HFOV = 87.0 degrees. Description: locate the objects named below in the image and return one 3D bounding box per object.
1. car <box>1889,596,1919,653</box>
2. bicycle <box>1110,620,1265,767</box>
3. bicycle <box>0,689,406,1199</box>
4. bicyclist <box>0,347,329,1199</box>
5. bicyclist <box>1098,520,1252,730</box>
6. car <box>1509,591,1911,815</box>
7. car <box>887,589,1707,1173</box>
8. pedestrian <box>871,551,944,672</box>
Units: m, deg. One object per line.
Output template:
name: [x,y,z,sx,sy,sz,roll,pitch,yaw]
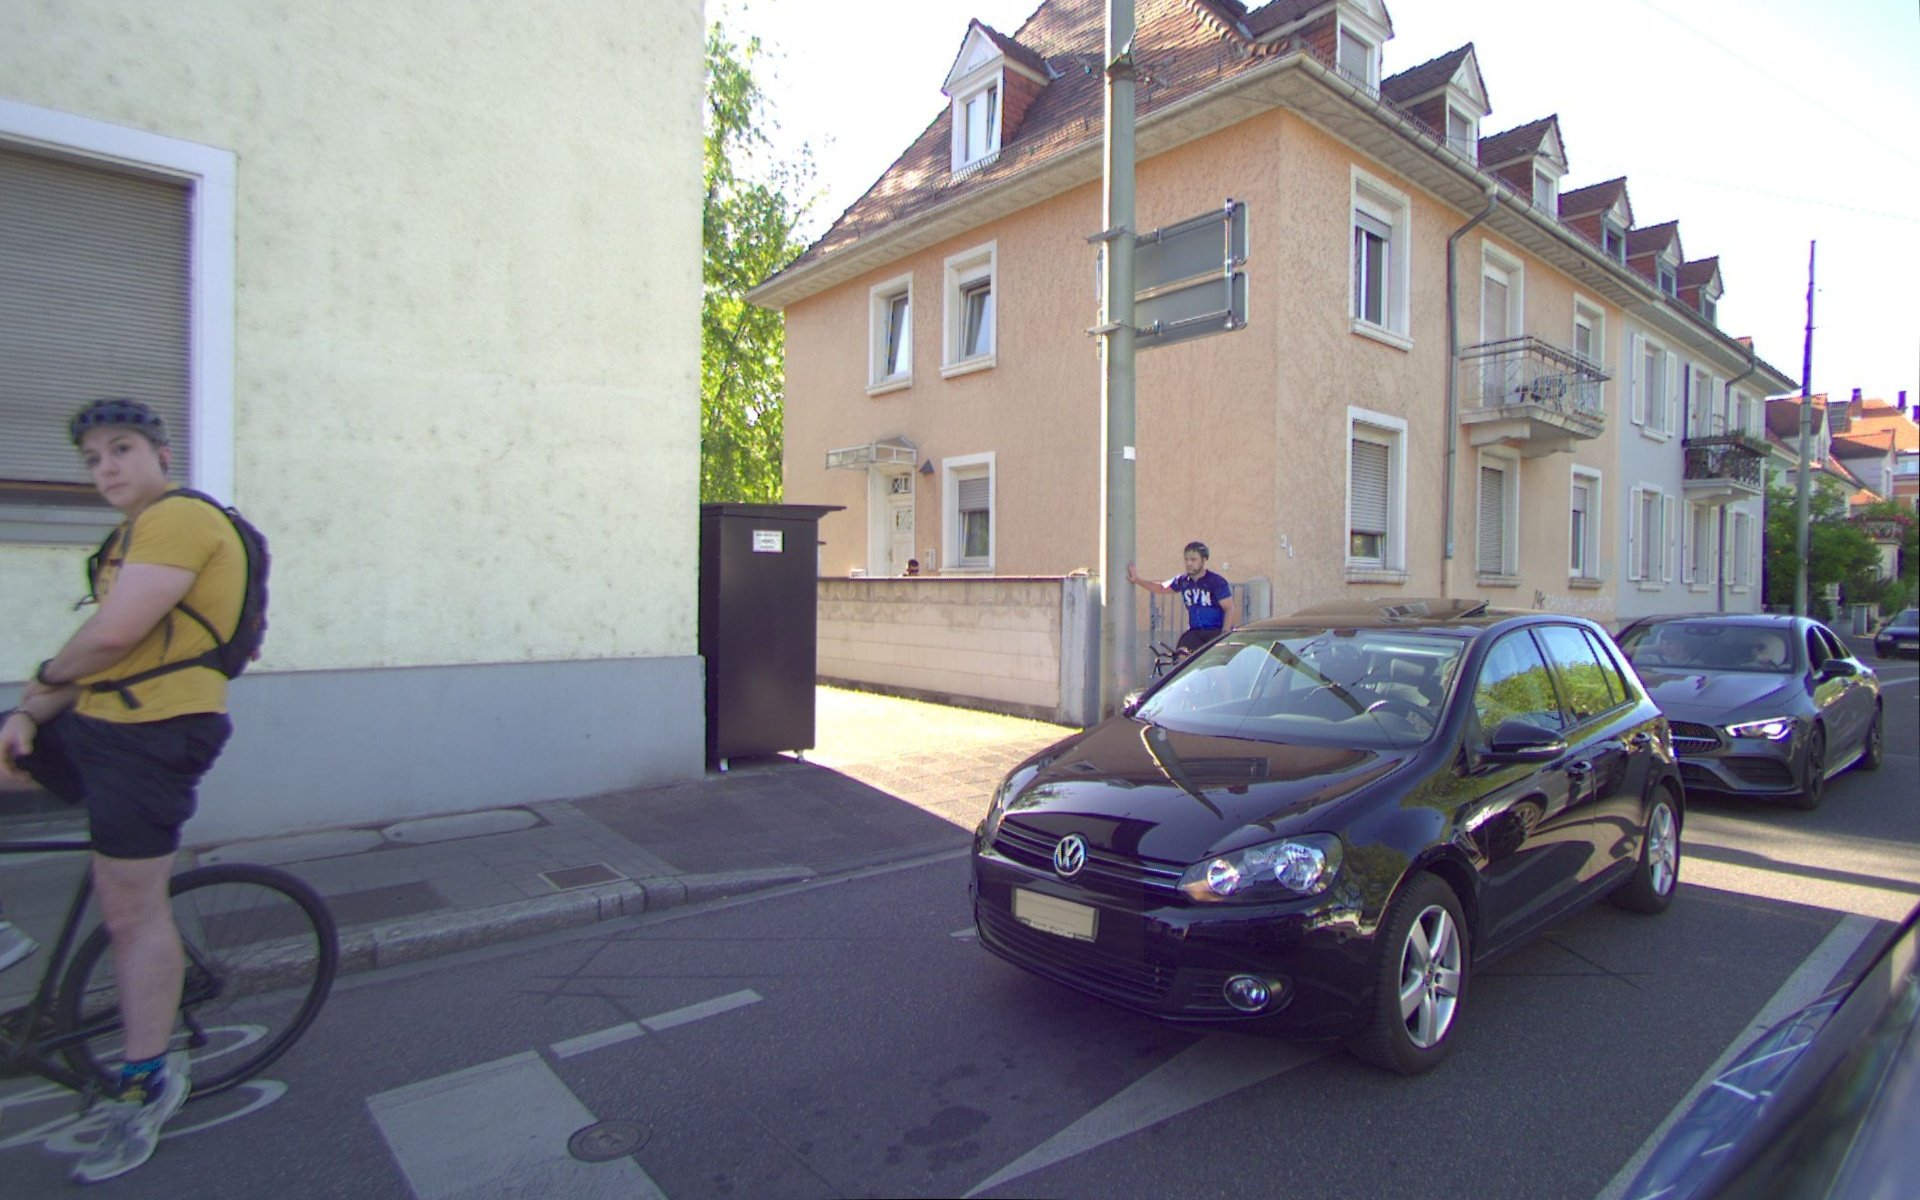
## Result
car: [26.763,0.634,27.437,4.258,1.448,1.824,-1,0,-40]
bicycle: [2.026,0.768,8.885,0.554,1.088,1.601,6,4,42]
bicycle: [-2.495,0.875,2.598,0.777,1.120,1.720,0,0,36]
bicyclist: [-2.291,0.427,2.721,0.777,1.991,0.768,0,0,36]
bicyclist: [1.905,0.182,8.994,1.018,1.714,0.718,6,4,42]
car: [6.603,0.690,8.714,4.410,1.449,1.824,1,0,-40]
car: [1.755,0.692,4.497,3.921,1.456,1.716,-1,0,-41]
pedestrian: [-0.750,0.149,14.429,0.600,1.624,0.760,0,6,-43]
